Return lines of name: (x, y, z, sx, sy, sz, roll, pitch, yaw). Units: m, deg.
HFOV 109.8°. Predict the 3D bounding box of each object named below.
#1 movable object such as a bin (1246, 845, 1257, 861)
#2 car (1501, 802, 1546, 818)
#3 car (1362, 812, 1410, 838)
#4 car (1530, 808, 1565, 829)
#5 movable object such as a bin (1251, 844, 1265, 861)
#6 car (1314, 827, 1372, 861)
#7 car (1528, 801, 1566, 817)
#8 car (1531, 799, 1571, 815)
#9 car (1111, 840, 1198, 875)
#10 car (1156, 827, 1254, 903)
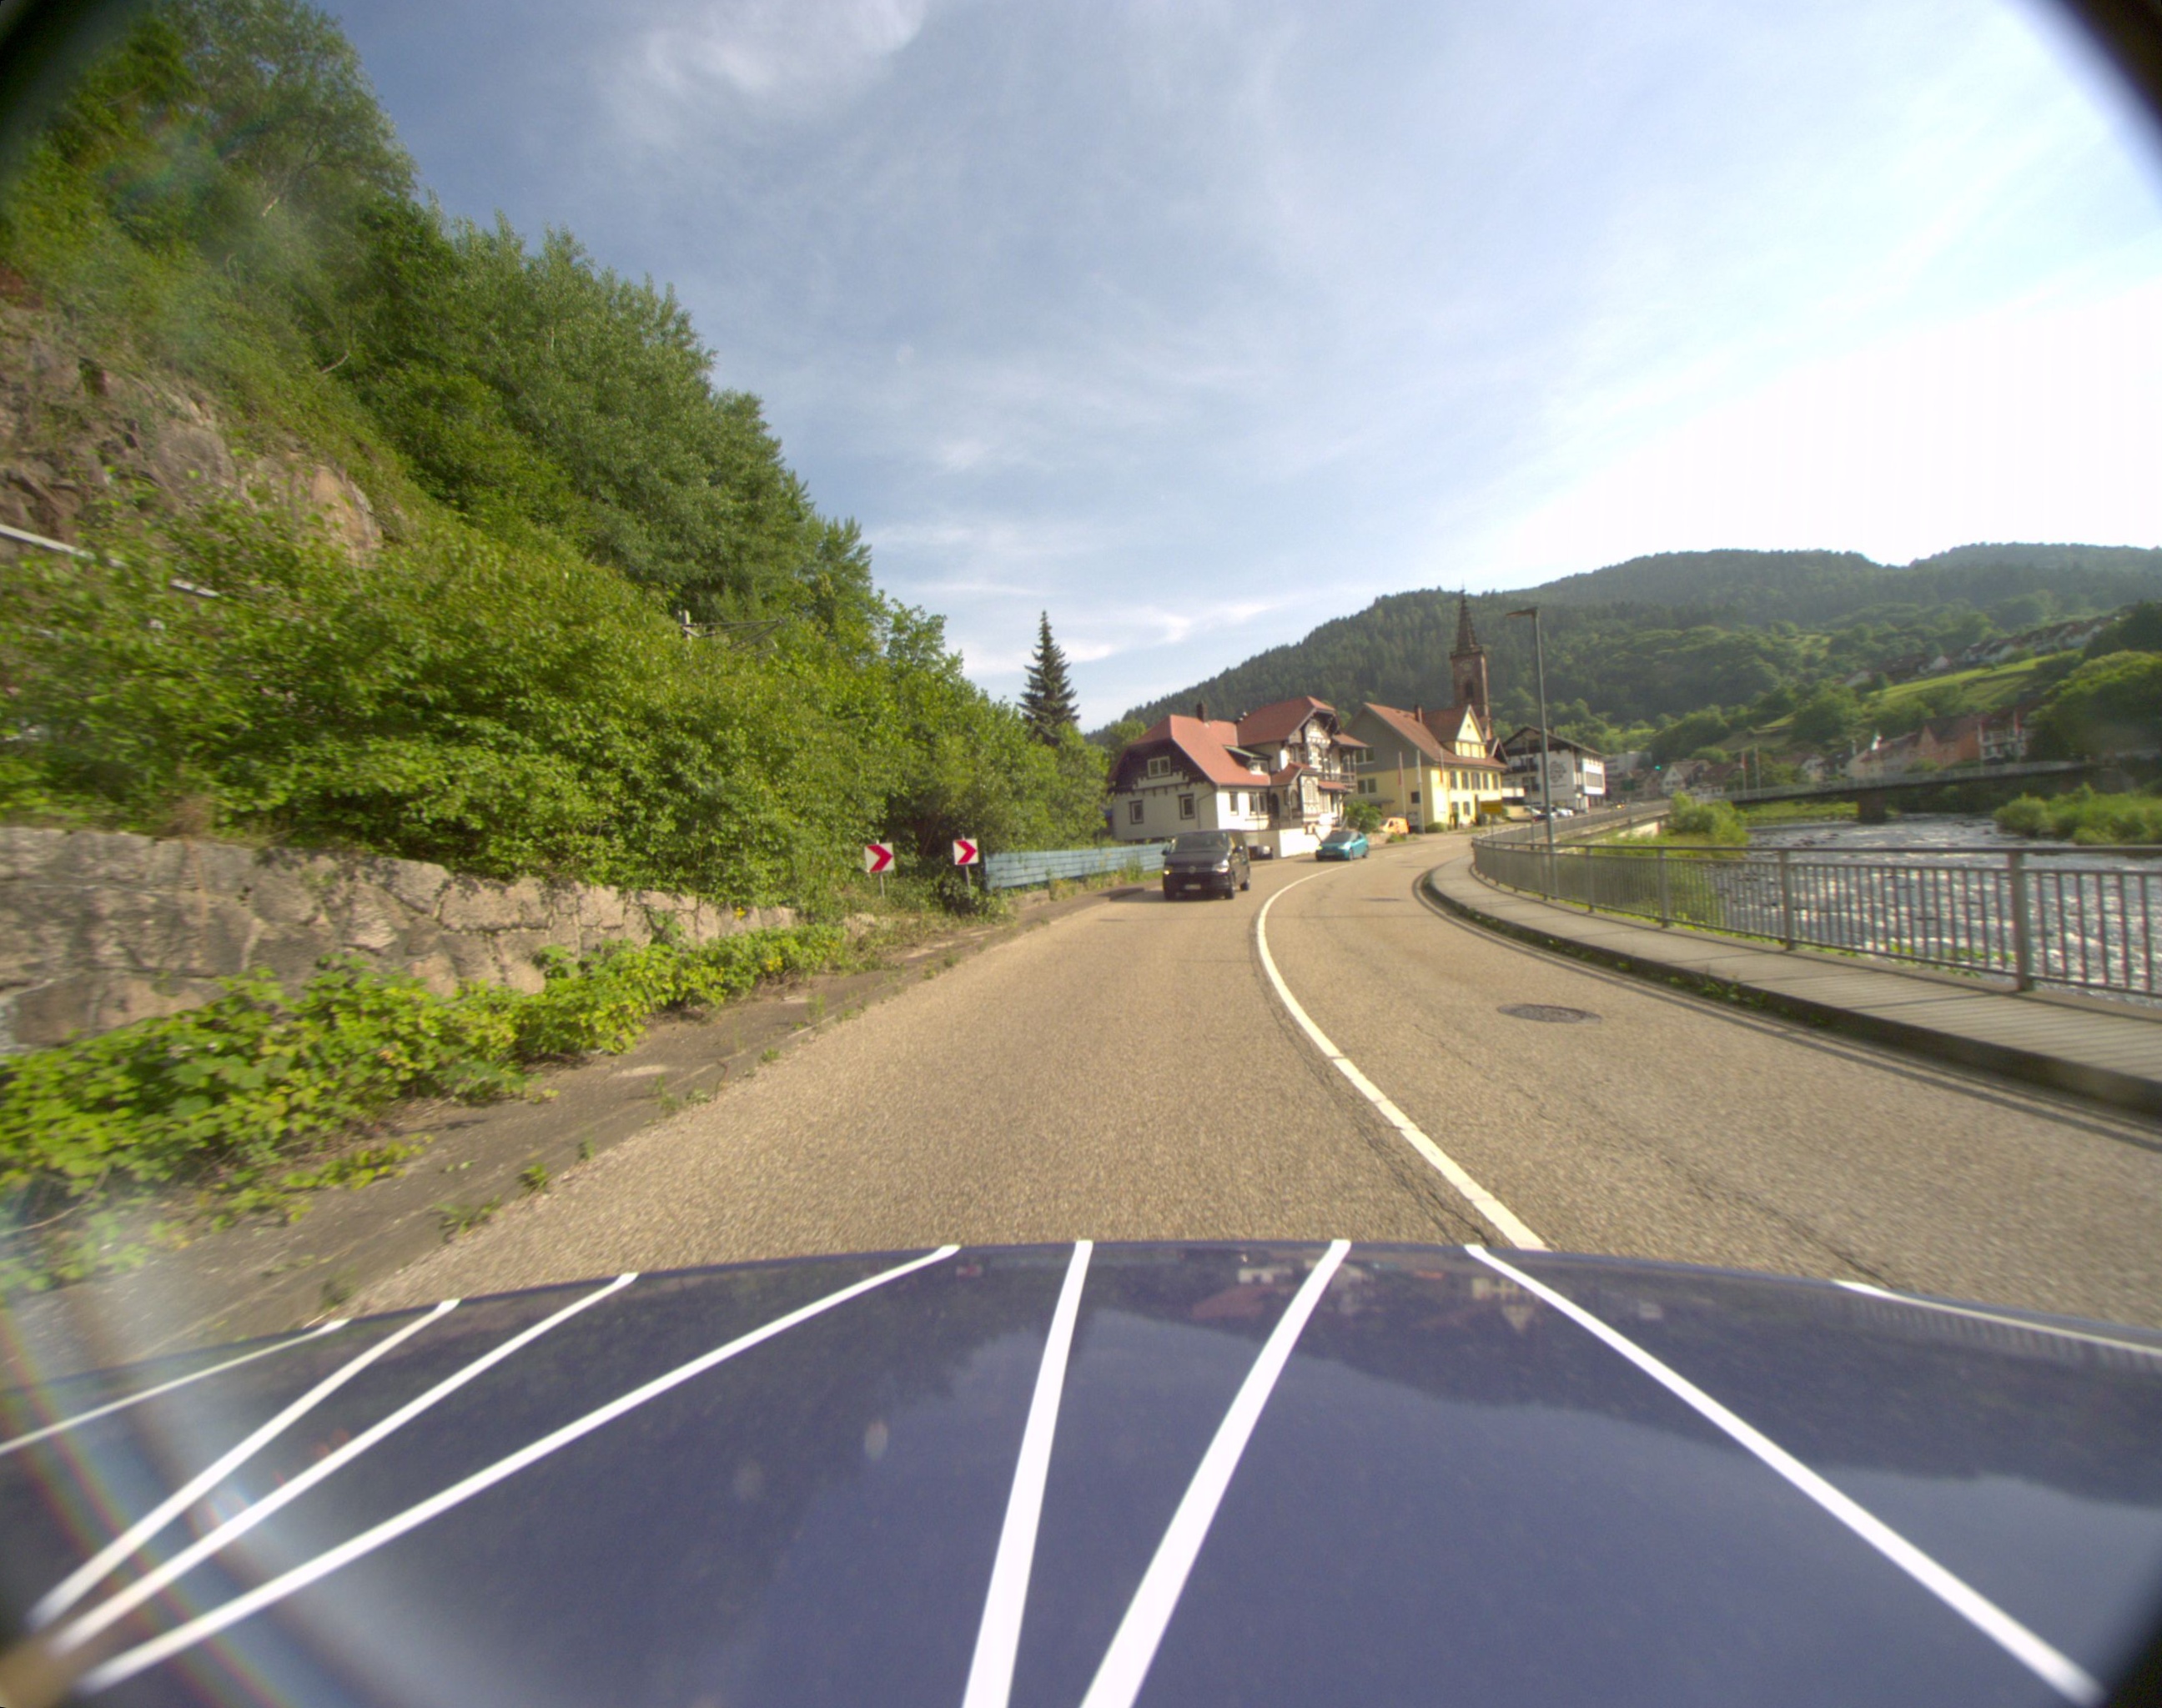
movable object such as a bin: (10.063, -0.053, 44.815, 0.368, 0.895, 0.548, -4, 1, 34)
car: (54.329, -5.417, 93.262, 1.716, 1.948, 4.443, -6, 6, -43)
car: (24.981, -2.404, 62.237, 1.909, 1.987, 4.843, 2, 5, 44)
car: (38.251, -2.960, 62.272, 1.816, 1.634, 4.007, 2, 4, 41)
movable object such as a bin: (10.313, -0.094, 44.351, 0.472, 0.931, 0.653, -4, 1, 40)
car: (14.081, -0.561, 40.751, 1.679, 1.513, 3.872, -1, 3, 39)
car: (57.563, -5.569, 93.891, 1.374, 1.883, 3.747, -6, 6, -43)
car: (59.267, -5.929, 95.872, 1.687, 1.872, 3.988, -6, 4, -43)
car: (3.791, 0.192, 39.454, 4.325, 1.460, 1.838, -4, 0, 4)
car: (3.776, 0.237, 22.296, 1.885, 1.953, 4.871, -1, 2, 20)
